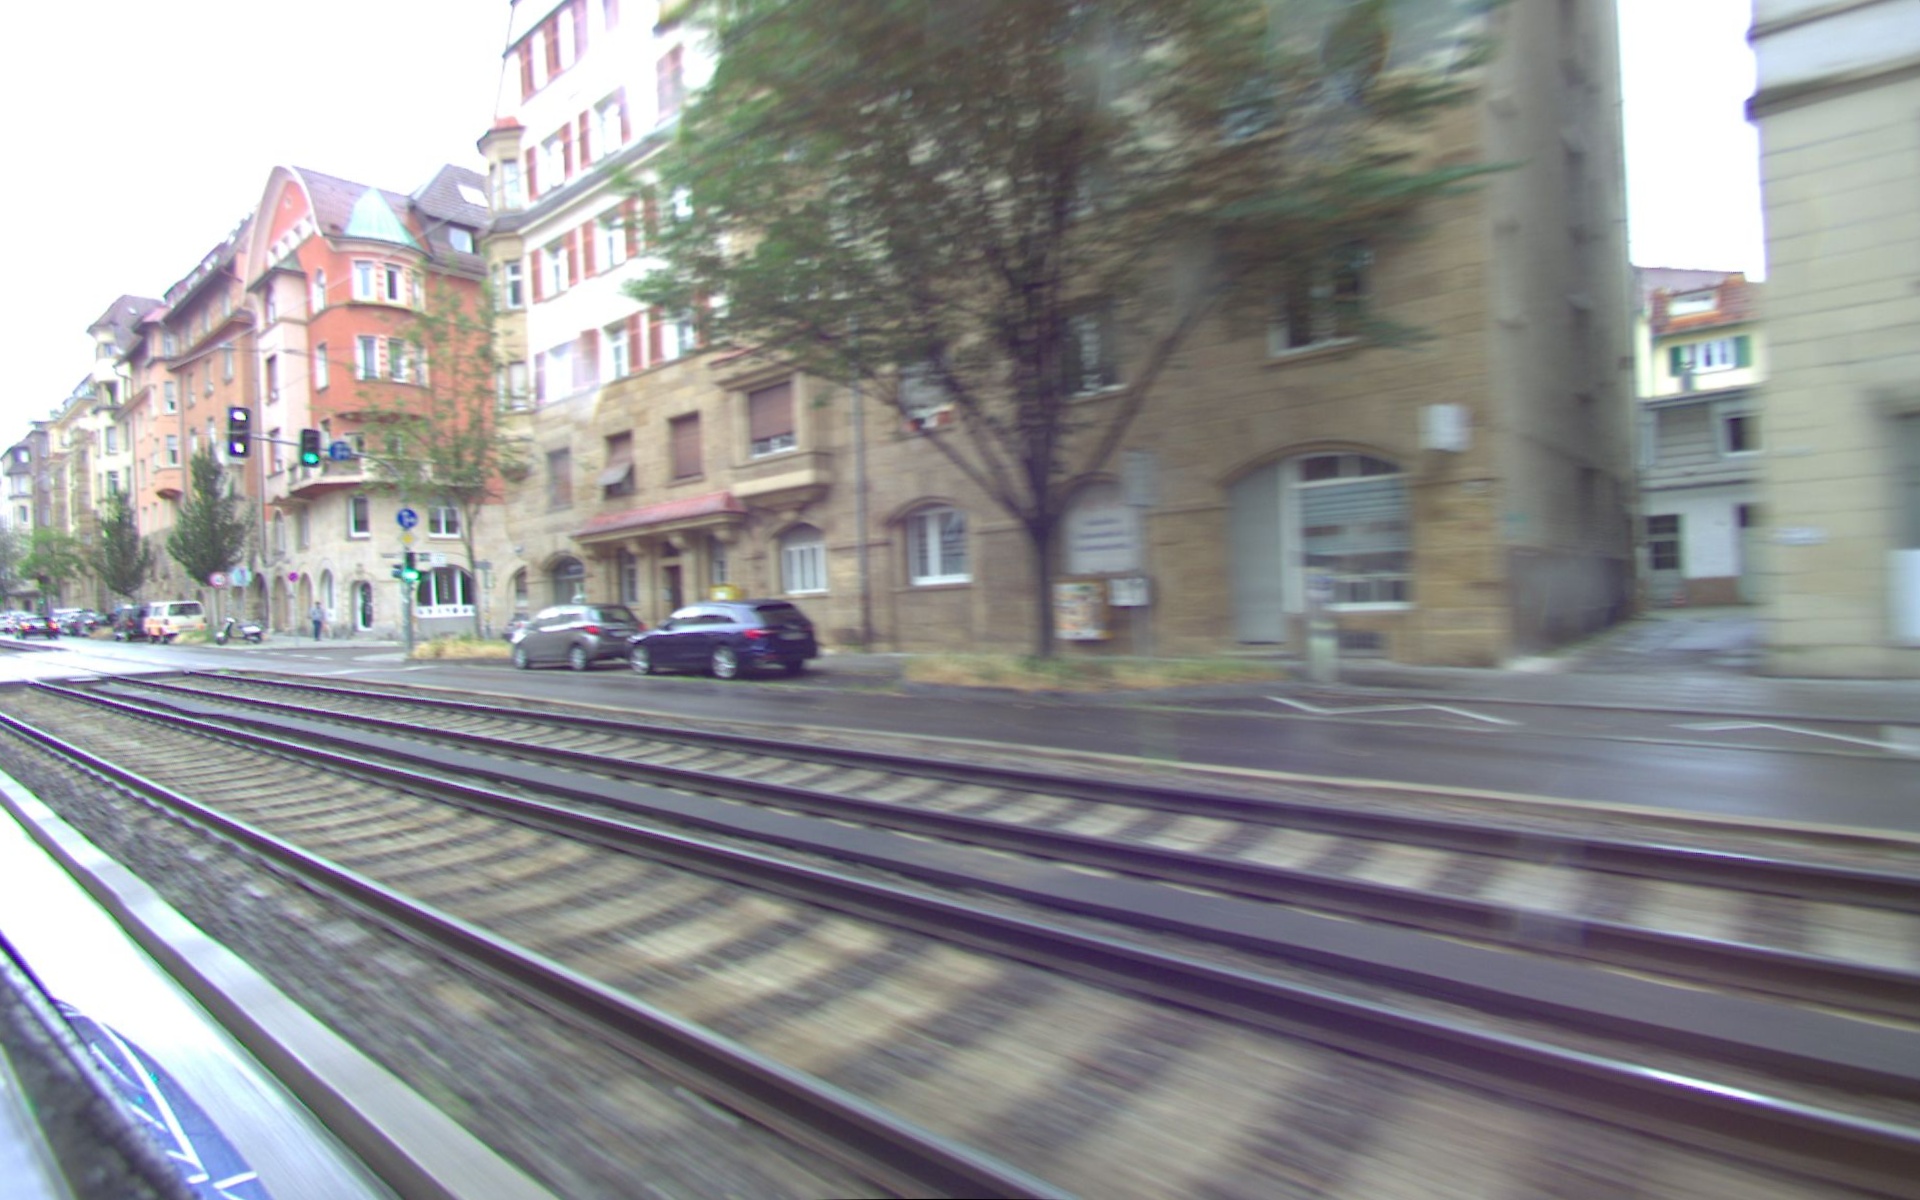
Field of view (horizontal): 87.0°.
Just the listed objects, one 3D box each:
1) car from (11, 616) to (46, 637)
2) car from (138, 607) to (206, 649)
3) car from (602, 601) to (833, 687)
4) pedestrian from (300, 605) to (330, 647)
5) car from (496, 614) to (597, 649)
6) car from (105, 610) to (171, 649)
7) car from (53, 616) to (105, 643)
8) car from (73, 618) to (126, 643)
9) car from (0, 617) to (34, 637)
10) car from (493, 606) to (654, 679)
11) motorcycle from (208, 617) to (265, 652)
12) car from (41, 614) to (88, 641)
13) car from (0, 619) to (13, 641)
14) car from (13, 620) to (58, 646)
[{"bbox_3d":[-74.808,2.126,81.237,3.712,1.493,1.695,0,3,43],"label":"car"},{"bbox_3d":[-38.246,1.322,49.099,4.473,1.945,1.711,-1,0,40],"label":"car"},{"bbox_3d":[-4.835,0.771,19.726,4.974,1.471,1.763,0,0,40],"label":"car"},{"bbox_3d":[-28.171,1.112,44.220,0.892,1.731,0.710,-1,6,41],"label":"pedestrian"},{"bbox_3d":[-18.906,1.411,46.358,1.746,1.478,3.945,-1,0,41],"label":"car"},{"bbox_3d":[-43.648,1.528,53.708,4.830,1.945,1.886,-1,0,41],"label":"car"},{"bbox_3d":[-56.624,1.871,65.032,4.594,1.502,1.738,-1,2,40],"label":"car"},{"bbox_3d":[-52.677,1.842,61.919,3.691,1.414,1.738,-1,2,39],"label":"car"},{"bbox_3d":[-79.385,2.227,85.142,4.043,1.462,1.736,0,3,43],"label":"car"},{"bbox_3d":[-9.021,0.925,23.487,4.172,1.541,1.673,-1,0,40],"label":"car"},{"bbox_3d":[-30.111,1.438,42.145,1.754,1.385,0.770,-1,0,-17],"label":"motorcycle"},{"bbox_3d":[-60.879,1.828,68.771,4.257,1.684,1.737,-1,3,41],"label":"car"},{"bbox_3d":[-69.218,2.147,72.313,4.059,1.514,1.763,-1,0,40],"label":"car"},{"bbox_3d":[-55.503,1.974,60.741,3.733,1.474,1.636,-1,-1,41],"label":"car"}]
